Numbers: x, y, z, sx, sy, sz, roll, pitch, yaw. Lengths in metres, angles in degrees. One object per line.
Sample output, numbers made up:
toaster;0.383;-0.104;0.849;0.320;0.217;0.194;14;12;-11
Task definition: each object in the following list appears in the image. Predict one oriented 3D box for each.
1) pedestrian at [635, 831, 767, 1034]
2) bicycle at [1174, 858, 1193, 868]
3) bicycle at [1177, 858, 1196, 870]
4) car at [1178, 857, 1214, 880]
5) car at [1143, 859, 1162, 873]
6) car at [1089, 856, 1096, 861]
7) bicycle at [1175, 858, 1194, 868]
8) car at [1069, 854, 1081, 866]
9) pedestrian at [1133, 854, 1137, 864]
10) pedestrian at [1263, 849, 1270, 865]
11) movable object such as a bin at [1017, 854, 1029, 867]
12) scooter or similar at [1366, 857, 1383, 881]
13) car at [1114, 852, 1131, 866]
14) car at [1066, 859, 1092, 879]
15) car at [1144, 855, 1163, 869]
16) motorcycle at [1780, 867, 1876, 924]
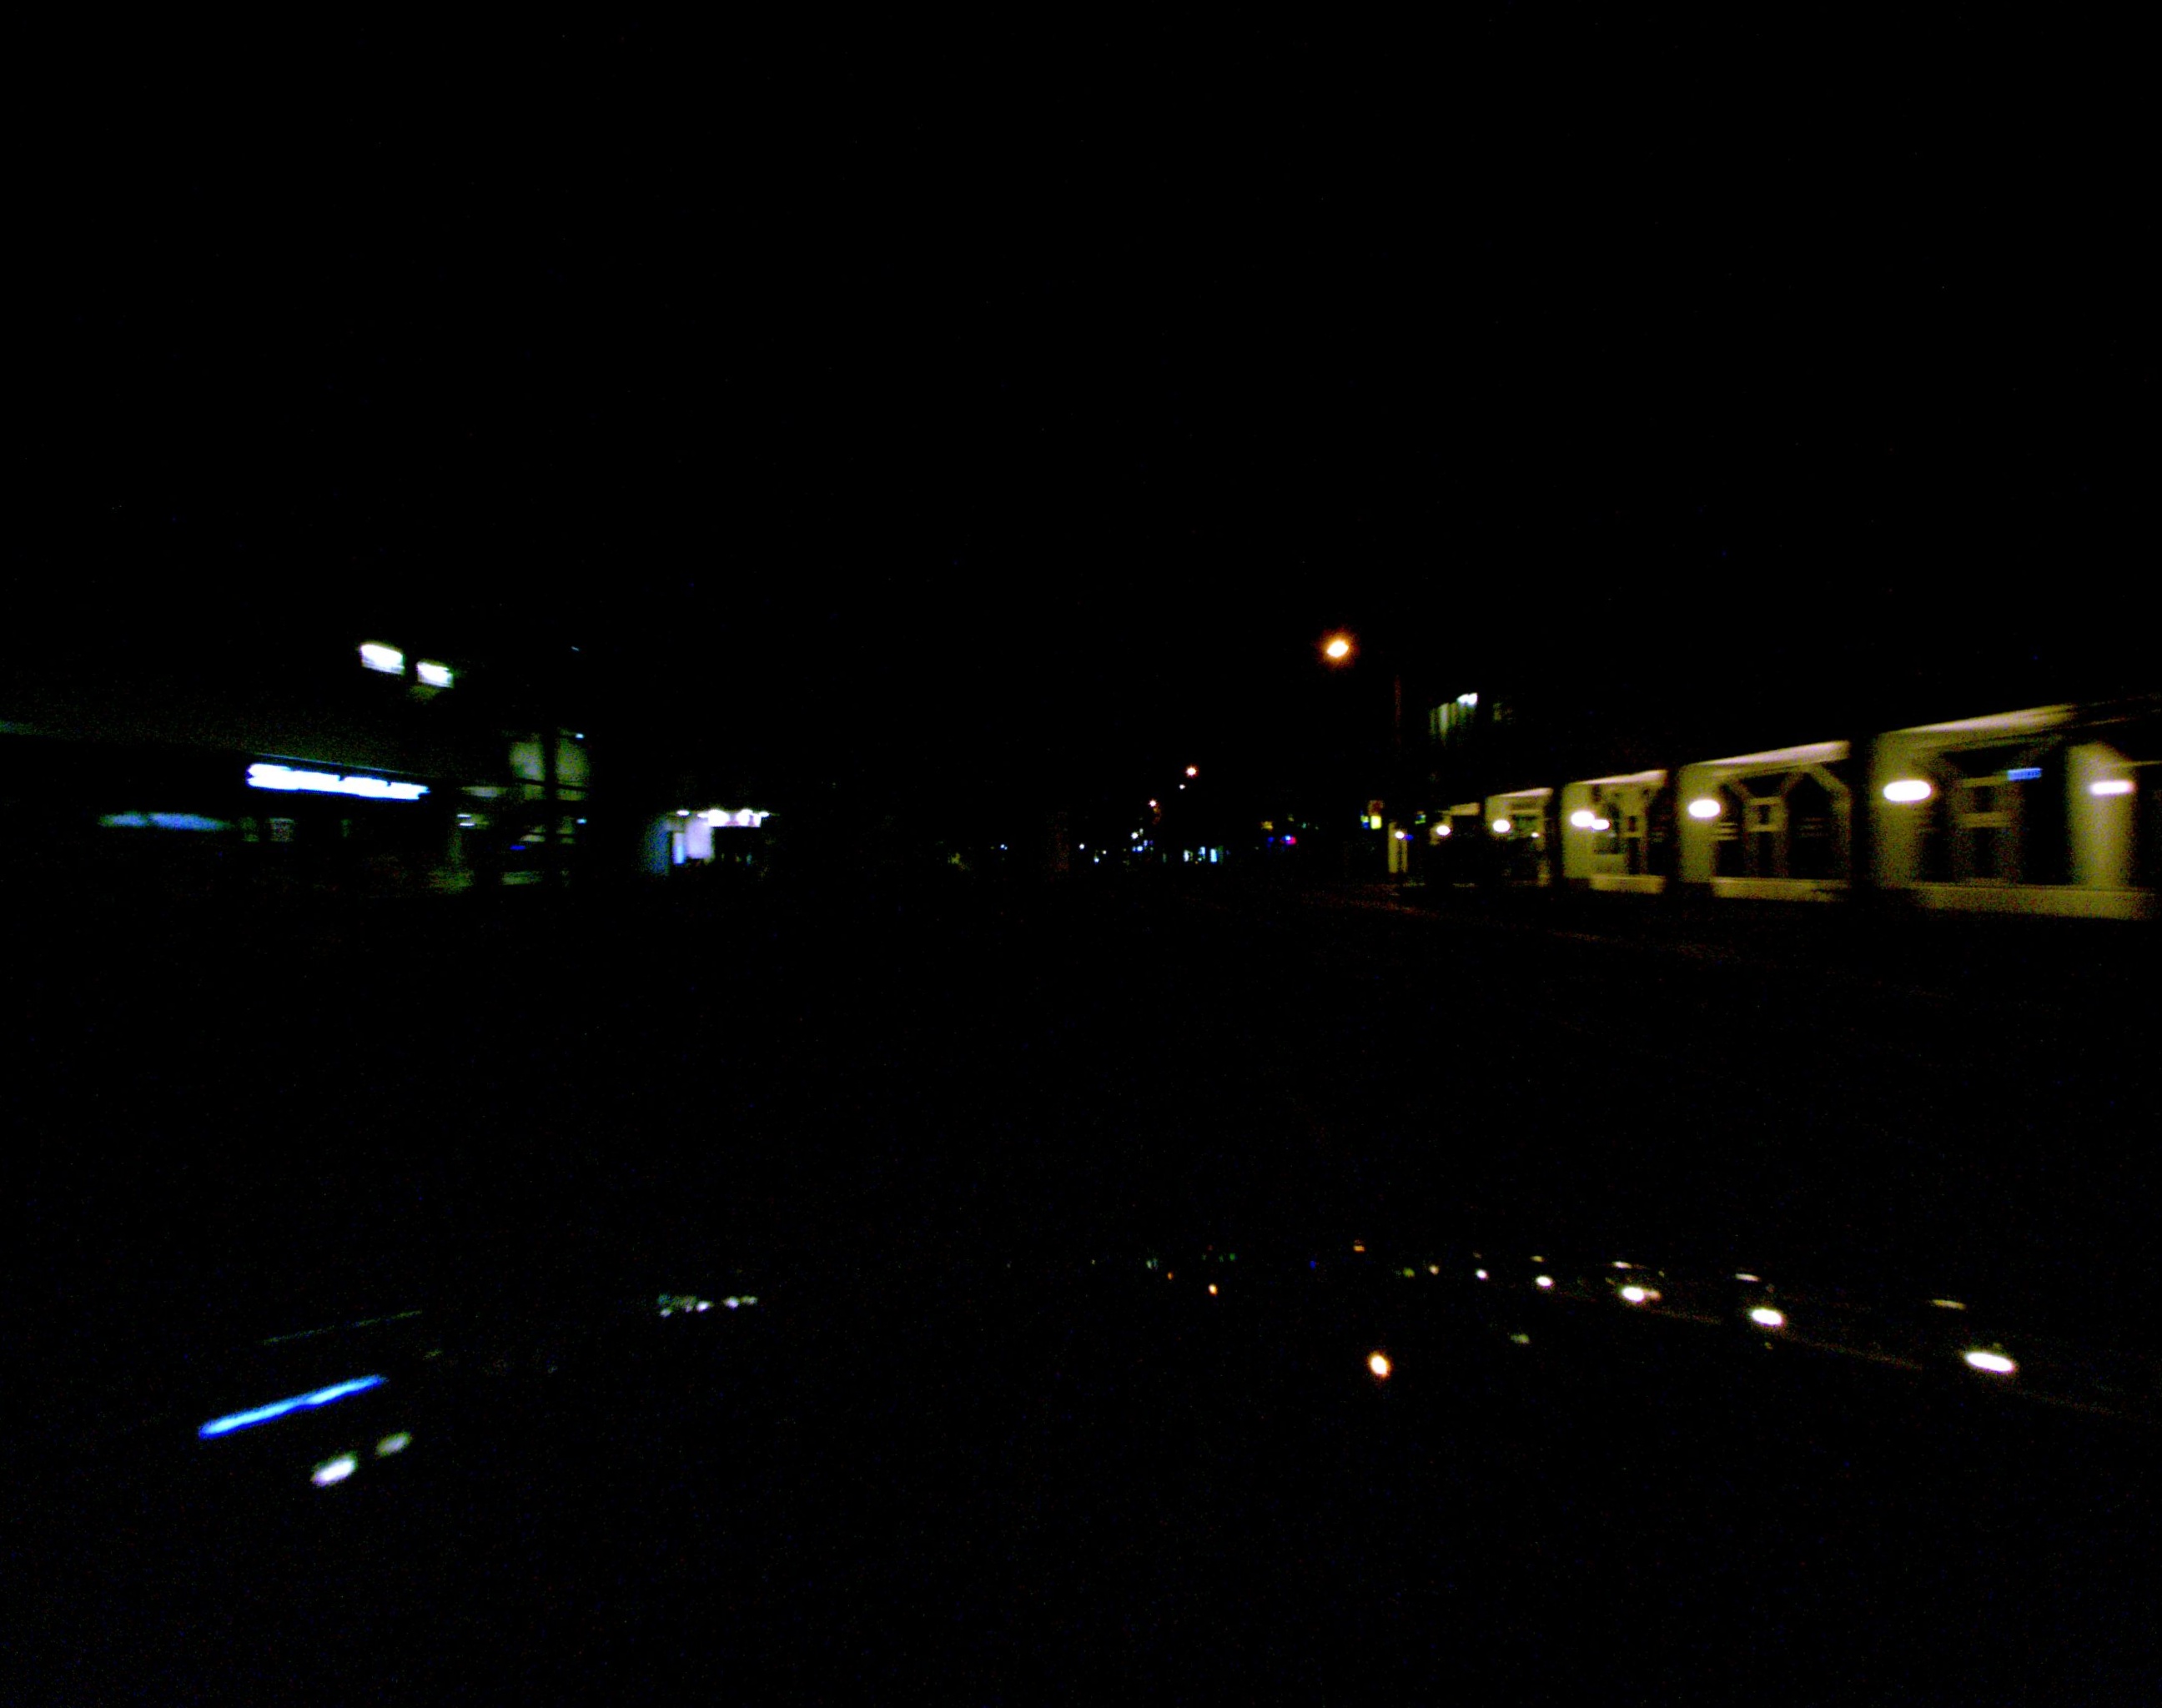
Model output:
pedestrian;-3.594;0.697;7.285;0.704;1.808;1.082;0;0;1
bicycle;10.790;0.931;80.016;1.855;0.994;0.532;-2;0;0
bicycle;10.681;0.992;77.126;1.855;1.159;0.532;0;0;0
car;7.525;0.916;50.095;1.745;1.405;4.496;-1;0;1
car;8.243;1.383;88.154;1.811;1.416;4.921;-2;0;1
car;3.157;1.223;210.588;1.737;1.493;4.002;0;0;6
bicycle;10.769;0.919;79.334;1.855;1.029;0.532;-2;0;0
car;-0.868;0.898;114.883;1.793;1.811;4.579;0;0;0
pedestrian;10.015;0.957;140.427;0.719;1.795;0.716;0;0;1
pedestrian;18.003;0.284;73.793;0.479;1.627;0.632;0;1;1
movable object such as a bin;-6.221;0.712;81.320;1.163;1.363;0.993;-1;0;-1
scooter or similar;15.188;0.766;39.334;0.388;1.214;1.344;0;0;3
car;6.513;0.736;119.212;1.858;2.075;5.088;-3;0;-5
car;-0.116;1.051;55.643;1.768;1.406;4.808;0;0;1
car;7.928;0.863;82.922;1.726;1.420;3.976;-2;0;1
motorcycle;14.500;0.780;14.803;0.479;1.014;1.676;-1;0;11
